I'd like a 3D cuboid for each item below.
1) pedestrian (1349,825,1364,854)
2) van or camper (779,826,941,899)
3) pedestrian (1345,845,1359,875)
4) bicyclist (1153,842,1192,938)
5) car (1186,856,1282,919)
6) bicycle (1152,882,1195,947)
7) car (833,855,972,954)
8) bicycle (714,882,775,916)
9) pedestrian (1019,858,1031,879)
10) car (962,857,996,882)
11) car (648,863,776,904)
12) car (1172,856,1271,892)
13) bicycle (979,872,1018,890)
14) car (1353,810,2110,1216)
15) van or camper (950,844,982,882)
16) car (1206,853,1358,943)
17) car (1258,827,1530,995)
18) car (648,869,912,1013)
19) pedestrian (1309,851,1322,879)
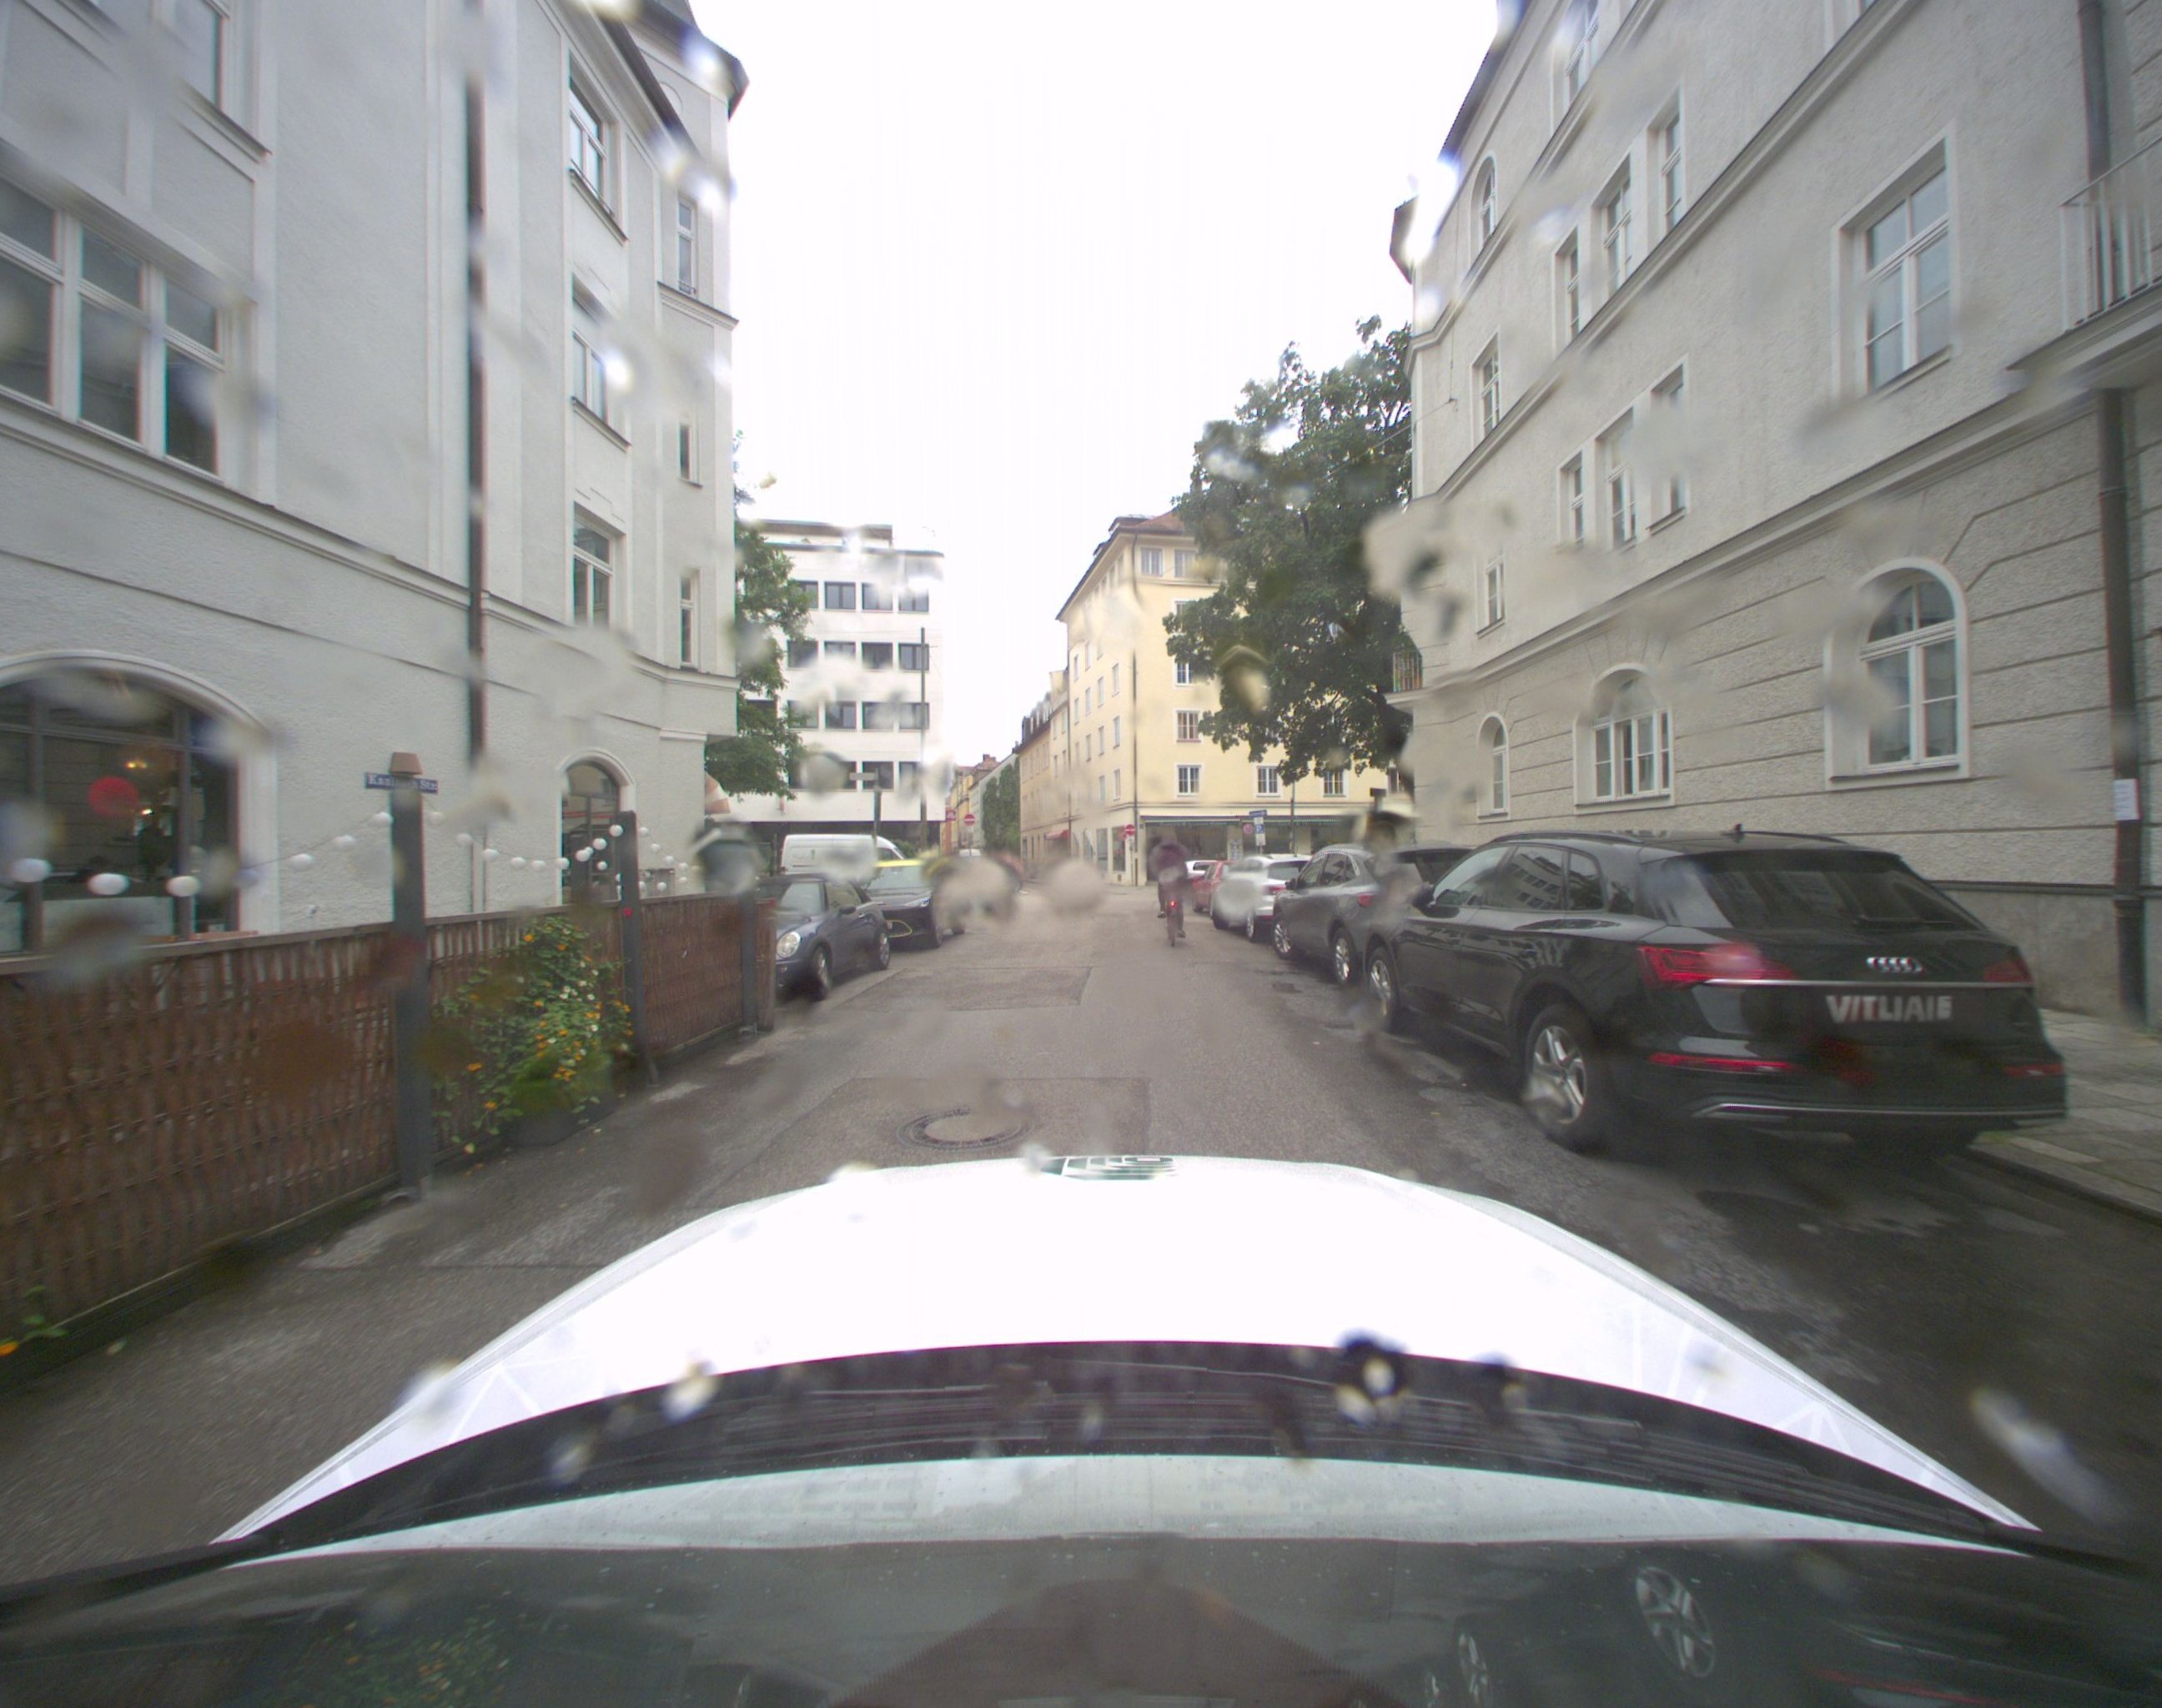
[{"bbox_3d":[14.983,-0.783,44.295,0.552,1.575,0.576,1,-1,-10],"label":"pedestrian"},{"bbox_3d":[-8.504,0.328,31.873,5.903,2.677,1.867,-1,-2,-9],"label":"van or camper"},{"bbox_3d":[14.540,0.316,43.649,0.435,1.551,0.530,-1,-1,-28],"label":"pedestrian"},{"bbox_3d":[1.574,0.605,14.096,0.603,1.606,0.758,-1,0,3],"label":"bicyclist"},{"bbox_3d":[3.823,0.780,21.044,1.664,1.435,4.212,0,0,-1],"label":"car"},{"bbox_3d":[1.580,1.014,14.033,0.636,1.004,1.575,-1,0,3],"label":"bicycle"},{"bbox_3d":[-3.280,0.873,15.734,1.670,1.597,3.945,-3,-1,1],"label":"car"},{"bbox_3d":[-9.691,1.278,23.460,1.567,0.947,0.891,1,-2,-26],"label":"bicycle"},{"bbox_3d":[-4.793,1.245,69.369,0.878,1.778,0.770,-1,0,-12],"label":"pedestrian"},{"bbox_3d":[-6.593,0.986,52.401,1.833,1.535,3.984,-1,0,-12],"label":"car"},{"bbox_3d":[-13.740,1.107,30.576,4.056,1.429,1.792,-1,-3,-13],"label":"car"},{"bbox_3d":[5.986,0.883,35.143,3.973,1.416,1.820,0,-4,1],"label":"car"},{"bbox_3d":[-4.304,1.395,42.451,1.915,0.863,0.615,-1,0,-17],"label":"bicycle"},{"bbox_3d":[3.371,0.640,5.505,1.770,1.636,4.377,0,0,2],"label":"car"},{"bbox_3d":[-8.328,0.628,58.583,1.994,2.540,4.742,-1,0,-11],"label":"van or camper"},{"bbox_3d":[3.664,0.739,15.567,1.747,1.496,3.904,0,0,-4],"label":"car"},{"bbox_3d":[3.737,0.595,10.680,1.784,1.713,4.424,-1,0,-1],"label":"car"},{"bbox_3d":[-3.604,0.956,10.608,1.700,1.390,4.003,-2,0,3],"label":"car"},{"bbox_3d":[12.115,0.572,42.086,0.507,1.433,0.586,-1,-1,31],"label":"pedestrian"}]
